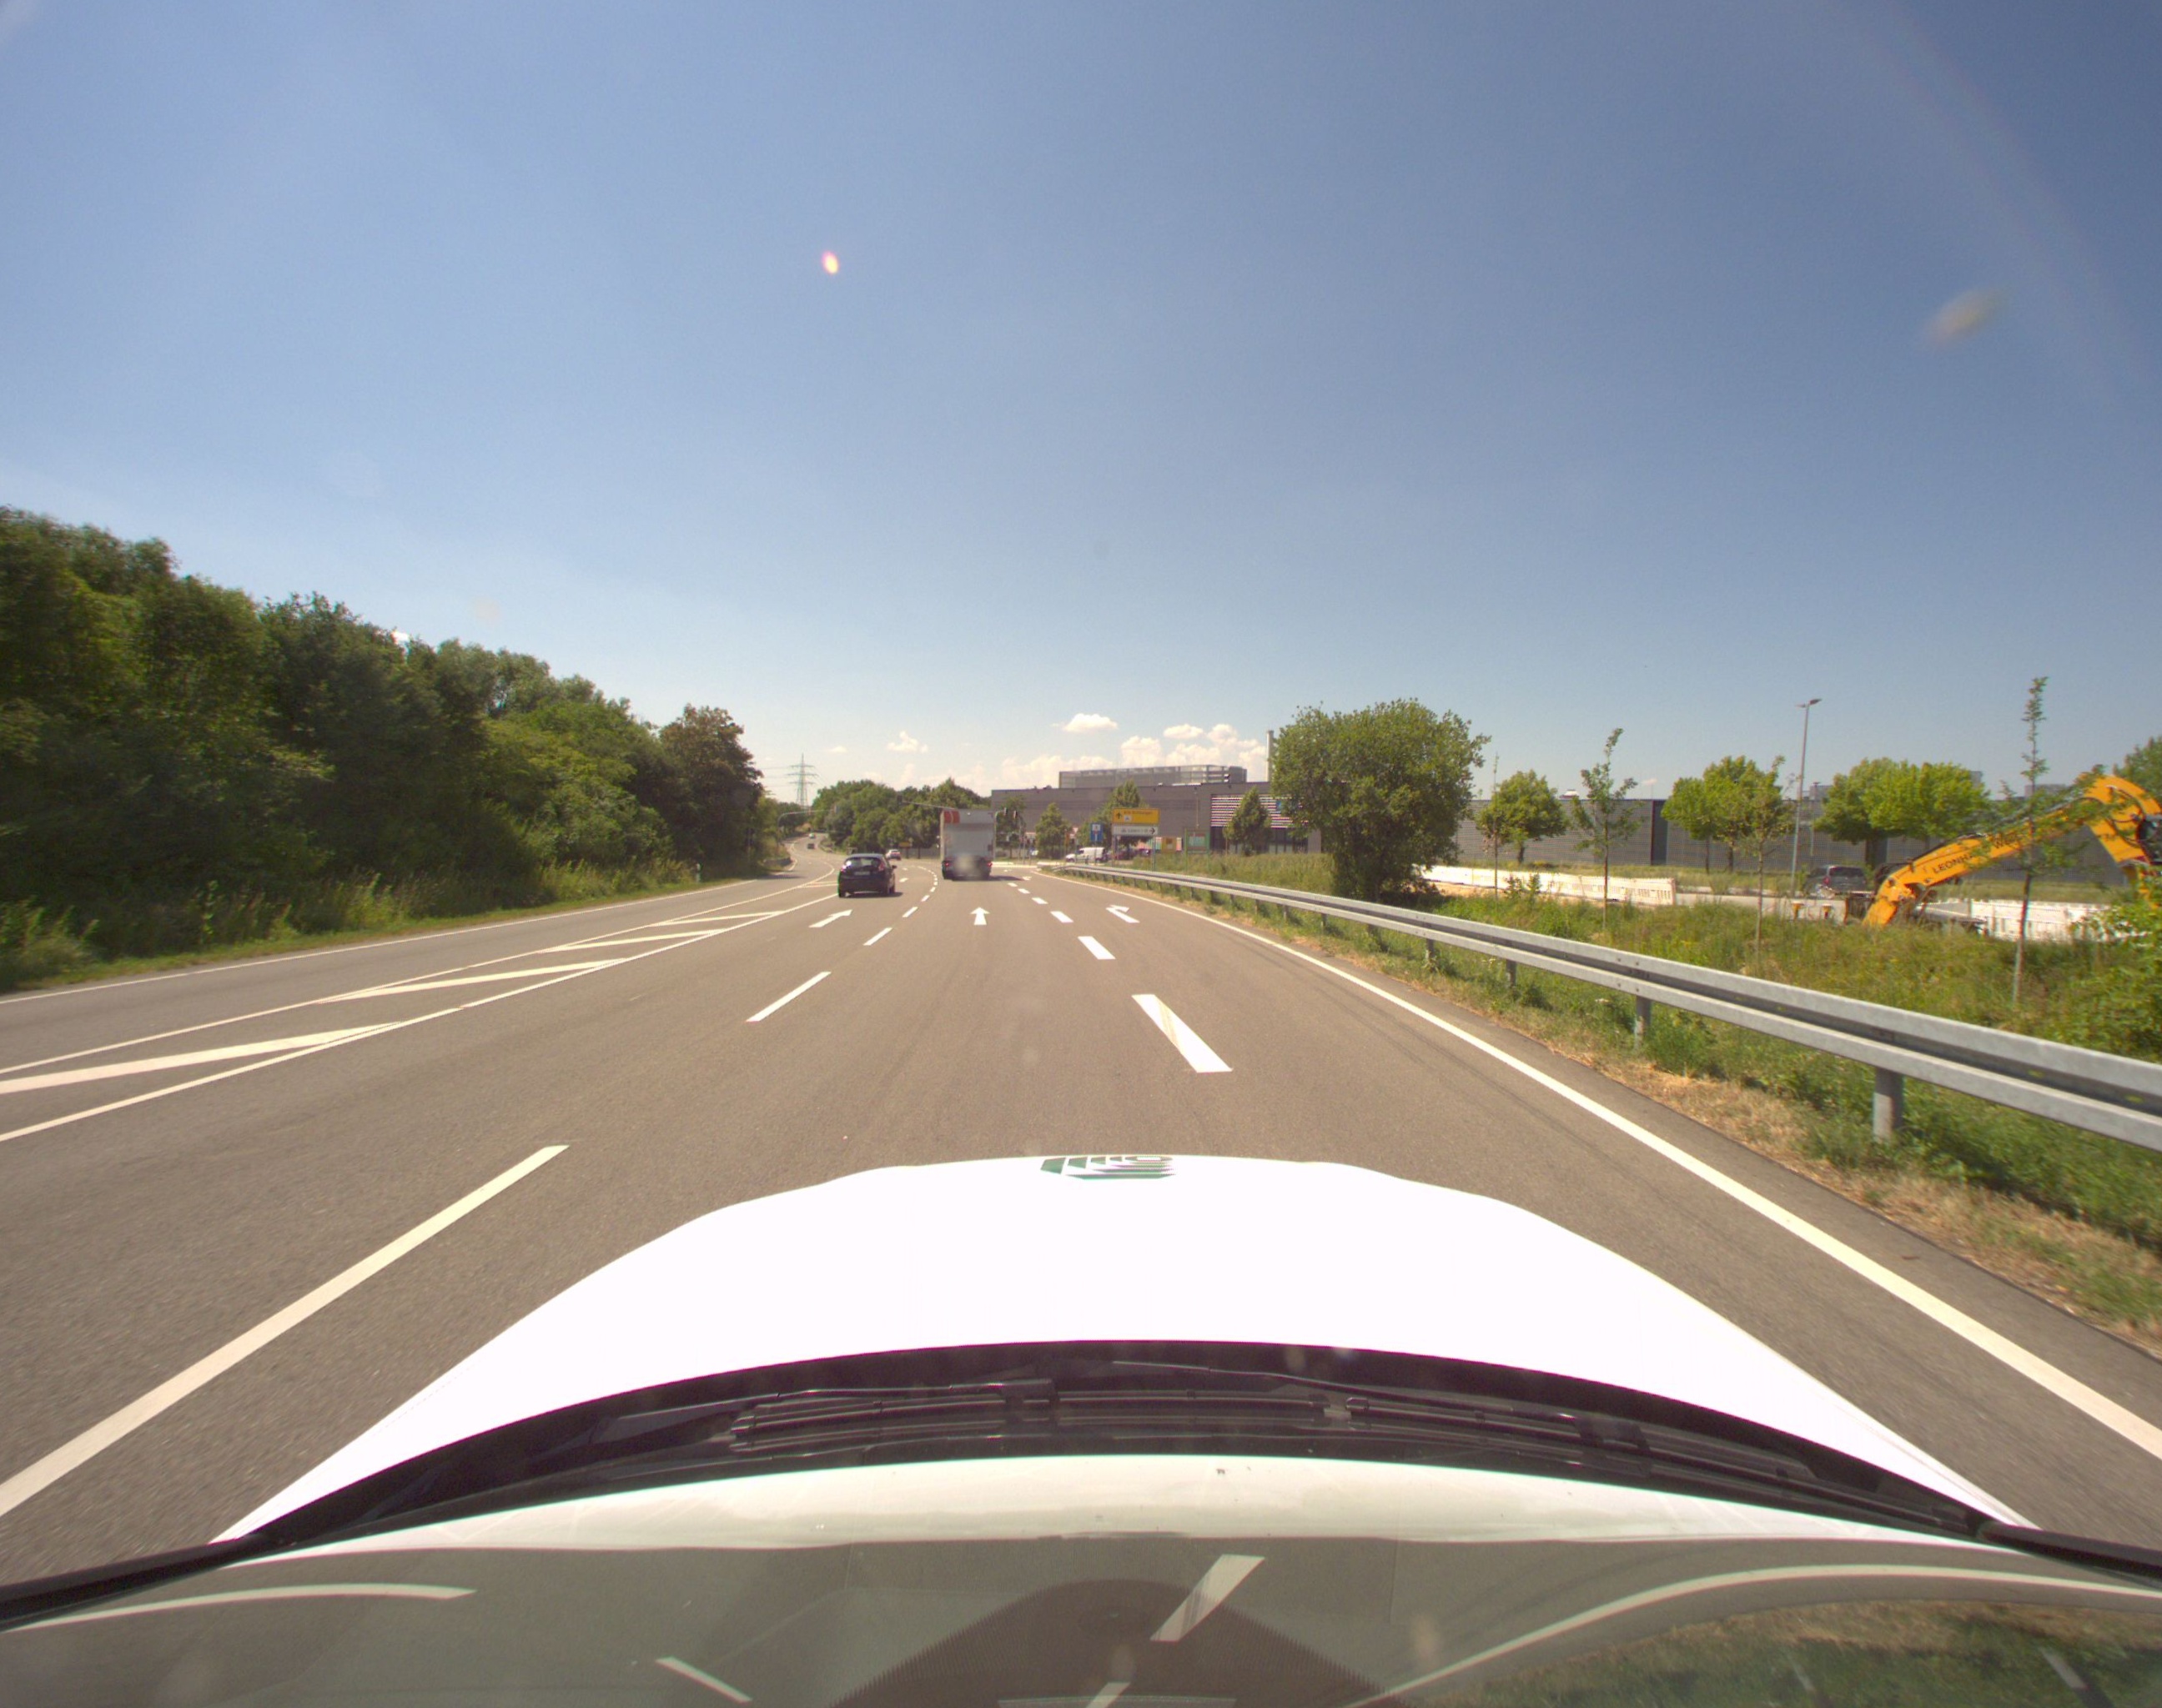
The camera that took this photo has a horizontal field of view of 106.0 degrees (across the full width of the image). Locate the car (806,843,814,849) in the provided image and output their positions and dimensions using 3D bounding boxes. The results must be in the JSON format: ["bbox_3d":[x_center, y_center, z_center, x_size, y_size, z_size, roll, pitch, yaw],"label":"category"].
[{"bbox_3d":[-77.830,-2.248,234.195,1.997,1.684,3.979,0,0,-16],"label":"car"}]

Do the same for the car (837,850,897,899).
[{"bbox_3d":[-7.544,0.671,29.049,1.653,1.493,4.195,0,2,-9],"label":"car"}]

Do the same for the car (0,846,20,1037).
[{"bbox_3d":[-9.742,0.747,4.464,1.991,1.593,4.671,-1,0,-7],"label":"car"}]

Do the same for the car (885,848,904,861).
[{"bbox_3d":[-26.586,0.015,116.242,1.952,1.664,3.970,3,0,-23],"label":"car"}]

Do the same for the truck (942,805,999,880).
[{"bbox_3d":[-6.198,-0.651,45.093,2.803,3.710,9.080,0,1,-9],"label":"truck"}]

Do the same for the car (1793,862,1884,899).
[{"bbox_3d":[40.807,1.382,44.027,2.076,1.816,5.374,1,0,26],"label":"car"}]

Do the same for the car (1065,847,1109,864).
[{"bbox_3d":[0.670,0.121,93.421,4.713,1.932,2.161,0,0,12],"label":"car"}]

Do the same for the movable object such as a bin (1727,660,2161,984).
[{"bbox_3d":[18.922,-0.636,16.556,3.420,5.259,9.212,2,3,-6],"label":"movable object such as a bin"}]
